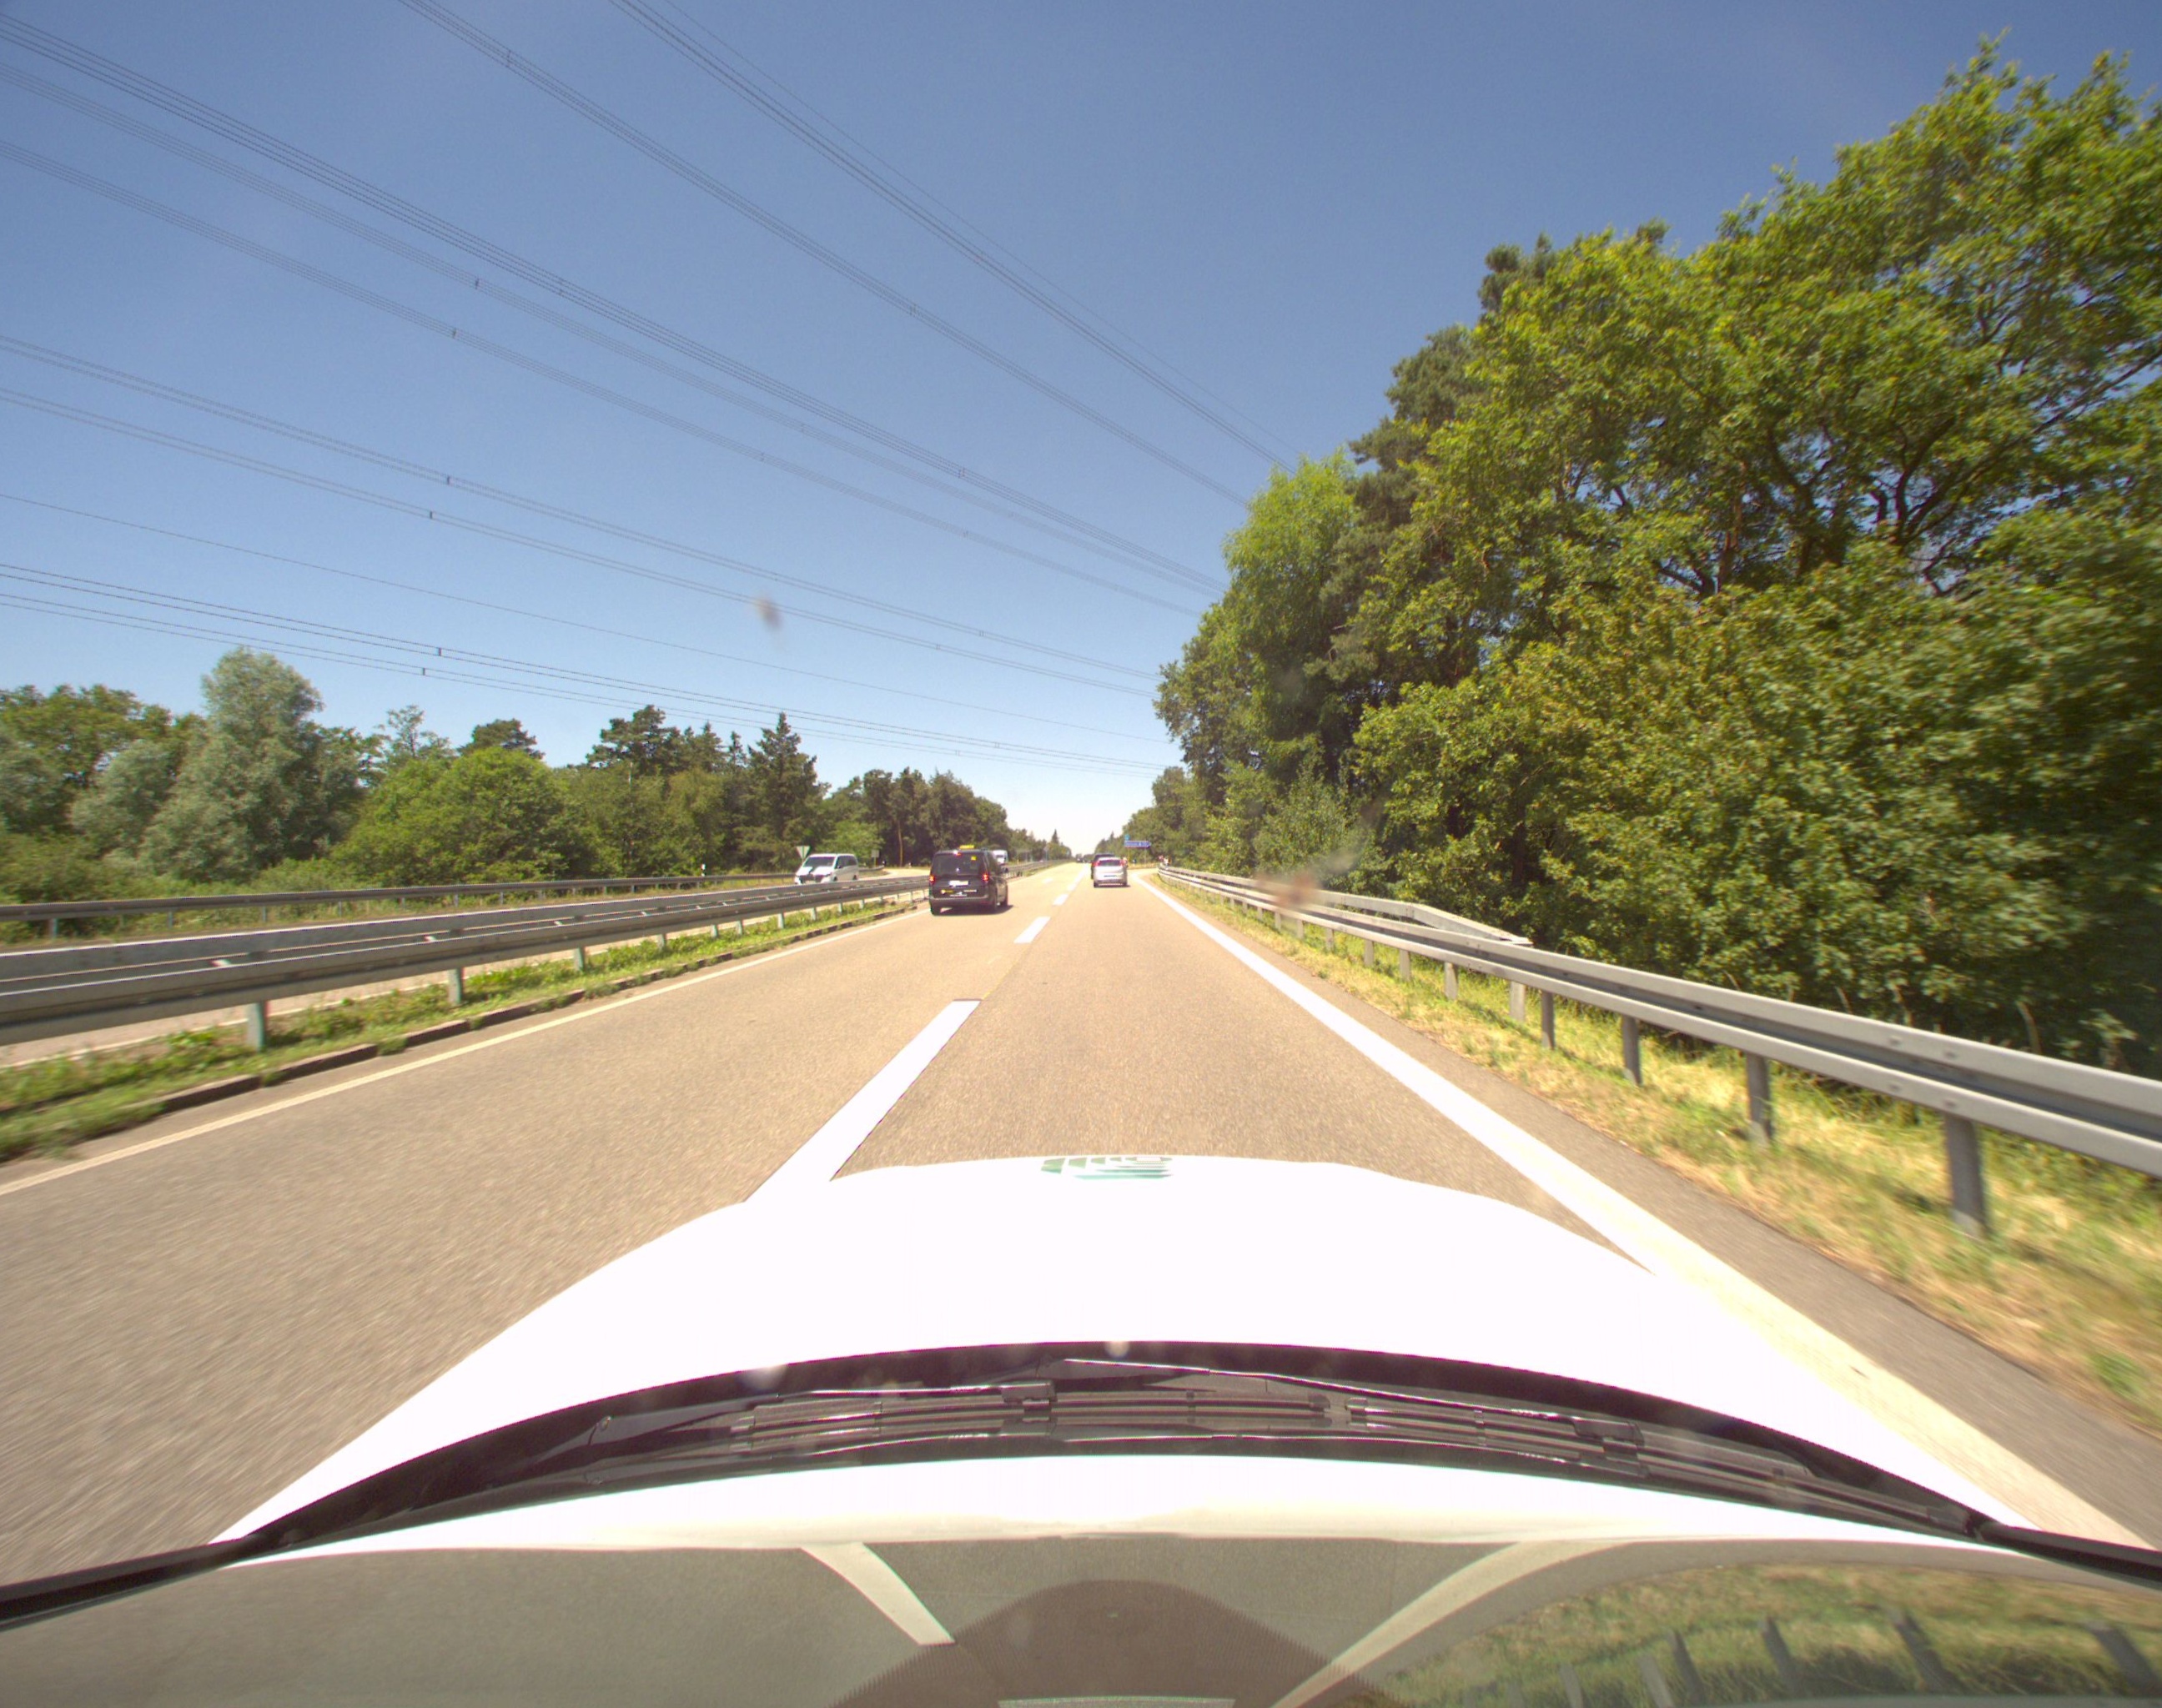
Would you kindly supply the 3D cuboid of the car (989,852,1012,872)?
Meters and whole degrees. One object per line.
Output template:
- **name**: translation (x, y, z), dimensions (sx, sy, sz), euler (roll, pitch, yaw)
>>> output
- **car**: translation (-11.817, 1.154, 119.701), dimensions (2.516, 2.618, 7.186), euler (-3, 0, 1)

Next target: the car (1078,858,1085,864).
- **car**: translation (0.148, 1.870, 220.488), dimensions (1.706, 1.471, 3.575), euler (1, 0, 1)

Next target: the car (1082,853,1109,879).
- **car**: translation (1.022, 0.803, 55.472), dimensions (1.633, 1.654, 3.577), euler (1, 0, 3)

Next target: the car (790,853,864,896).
- **car**: translation (-12.899, 1.008, 41.766), dimensions (1.884, 1.992, 5.535), euler (-2, 0, 2)

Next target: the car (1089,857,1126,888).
- **car**: translation (1.300, 0.899, 40.927), dimensions (1.636, 1.468, 3.416), euler (1, 0, -2)

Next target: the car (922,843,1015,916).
- **car**: translation (-3.228, 0.697, 24.528), dimensions (1.847, 1.887, 5.575), euler (-1, 0, 1)
